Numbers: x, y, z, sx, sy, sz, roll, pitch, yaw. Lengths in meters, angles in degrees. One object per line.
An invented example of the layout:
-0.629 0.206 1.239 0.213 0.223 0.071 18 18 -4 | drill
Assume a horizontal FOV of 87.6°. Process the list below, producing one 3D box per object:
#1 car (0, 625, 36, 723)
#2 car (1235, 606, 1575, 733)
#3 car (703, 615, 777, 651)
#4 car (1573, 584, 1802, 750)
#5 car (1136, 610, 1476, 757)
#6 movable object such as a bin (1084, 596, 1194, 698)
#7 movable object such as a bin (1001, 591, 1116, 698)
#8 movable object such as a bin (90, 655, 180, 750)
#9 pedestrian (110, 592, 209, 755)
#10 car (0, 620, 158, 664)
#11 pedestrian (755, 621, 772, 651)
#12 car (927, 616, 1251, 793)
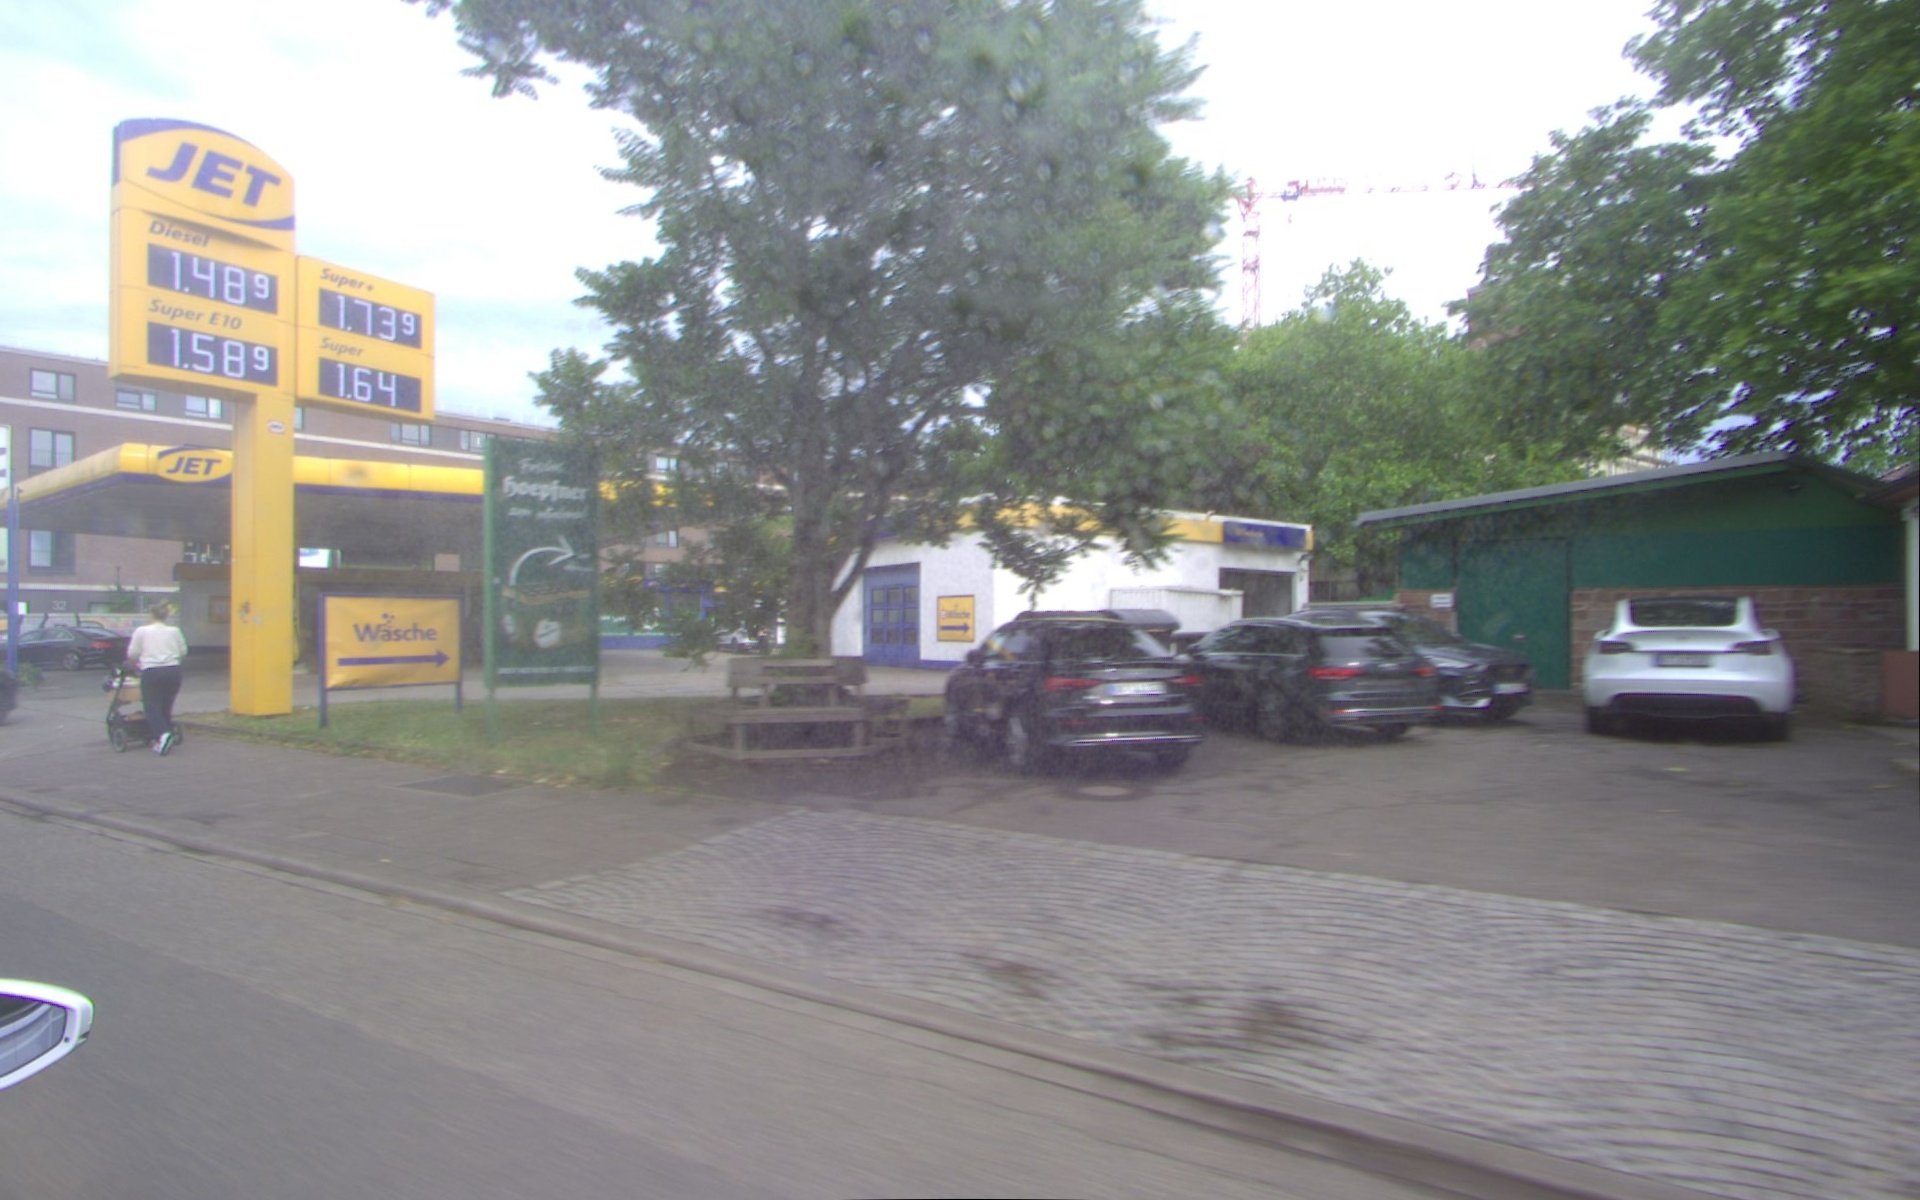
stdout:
-15.799 1.094 13.903 1.957 1.516 4.328 0 -2 -1 | car
6.118 0.860 14.450 1.952 1.478 4.480 1 0 -19 | car
-10.764 1.634 48.801 1.819 1.658 4.446 3 -4 -38 | car
9.021 0.763 12.473 1.965 1.667 4.410 -1 -2 37 | car
4.099 0.888 12.798 1.844 1.446 4.534 -2 0 -16 | car
2.789 0.720 15.708 1.272 1.510 1.121 2 0 -18 | movable object such as a bin
1.489 0.668 15.343 1.397 1.535 1.121 1 2 -17 | movable object such as a bin
-10.323 1.251 12.523 0.762 1.053 1.014 -2 1 -44 | movable object such as a bin
-9.509 0.831 11.883 0.762 1.821 1.151 -3 1 -44 | pedestrian
-30.539 1.412 34.133 4.791 1.446 1.953 0 -1 0 | car
-9.204 1.692 46.889 0.573 1.363 0.608 2 -3 -34 | pedestrian
1.060 0.905 10.710 1.900 1.426 4.578 0 0 -14 | car
